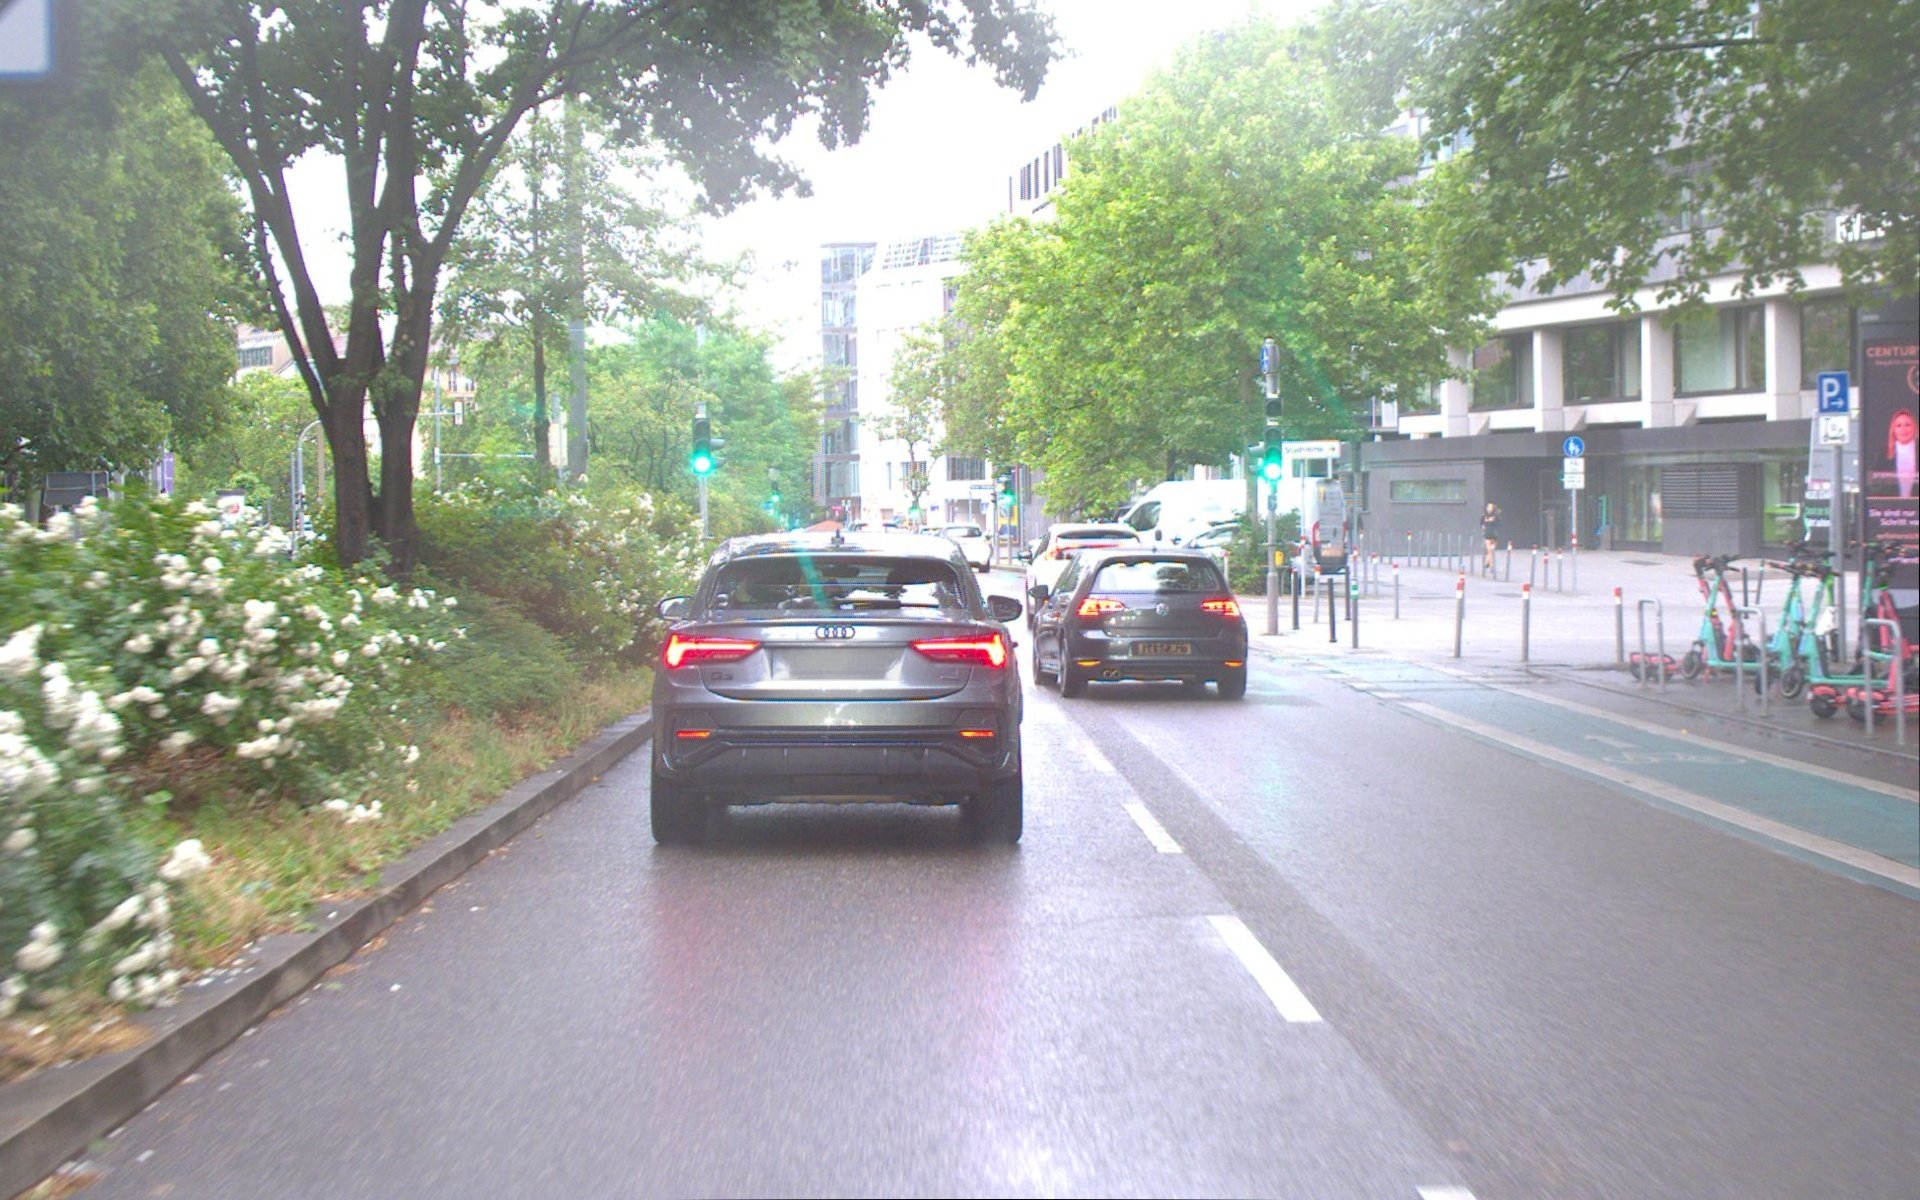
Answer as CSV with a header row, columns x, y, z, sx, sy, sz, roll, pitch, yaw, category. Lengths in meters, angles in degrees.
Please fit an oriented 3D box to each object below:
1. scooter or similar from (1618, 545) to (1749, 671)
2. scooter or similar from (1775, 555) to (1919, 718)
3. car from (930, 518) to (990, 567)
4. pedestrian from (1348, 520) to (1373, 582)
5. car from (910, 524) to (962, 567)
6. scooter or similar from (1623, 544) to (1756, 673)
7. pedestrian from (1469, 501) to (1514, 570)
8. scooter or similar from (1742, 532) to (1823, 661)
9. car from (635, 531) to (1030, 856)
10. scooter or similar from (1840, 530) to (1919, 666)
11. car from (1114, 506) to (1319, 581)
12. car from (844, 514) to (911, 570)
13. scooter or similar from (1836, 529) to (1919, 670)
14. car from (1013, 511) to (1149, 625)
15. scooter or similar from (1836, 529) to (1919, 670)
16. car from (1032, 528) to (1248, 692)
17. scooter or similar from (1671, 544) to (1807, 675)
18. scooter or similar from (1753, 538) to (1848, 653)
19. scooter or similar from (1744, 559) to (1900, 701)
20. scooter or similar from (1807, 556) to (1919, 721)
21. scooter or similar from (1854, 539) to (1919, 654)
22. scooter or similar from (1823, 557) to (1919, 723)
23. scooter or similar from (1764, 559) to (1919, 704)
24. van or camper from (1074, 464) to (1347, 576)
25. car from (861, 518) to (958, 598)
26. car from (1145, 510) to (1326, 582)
x,y,z,sx,sy,sz,roll,pitch,yaw,category
7.440,0.081,35.391,1.290,1.255,0.489,-1,3,11,scooter or similar
7.474,0.294,28.458,1.289,1.274,0.537,-2,3,-11,scooter or similar
-0.010,-1.820,108.712,1.849,1.518,4.039,0,1,-1,car
11.645,-1.414,99.955,0.553,1.799,0.762,0,0,-4,pedestrian
-0.876,-1.954,123.332,1.849,1.518,4.039,0,1,-1,car
7.373,0.086,34.779,1.290,1.255,0.489,-1,3,11,scooter or similar
13.077,-1.586,84.615,0.805,1.690,1.188,0,1,-6,pedestrian
8.465,-0.049,35.414,0.487,1.255,1.294,-2,3,-1,scooter or similar
-0.654,0.398,18.135,1.849,1.518,4.039,0,1,-2,car
9.062,-0.030,33.712,0.487,1.255,1.294,-2,3,-1,scooter or similar
5.825,-1.304,78.050,4.262,1.662,1.816,1,1,25,car
-2.282,-1.619,95.877,1.849,1.518,4.039,0,1,-1,car
8.701,-0.021,32.479,0.487,1.255,1.294,-2,3,-1,scooter or similar
1.781,-0.505,51.869,1.849,1.663,4.039,0,1,-1,car
8.701,-0.021,32.479,0.487,1.255,1.294,-2,3,-1,scooter or similar
1.708,0.052,33.787,1.849,1.518,4.039,0,1,-1,car
7.755,0.094,34.248,1.290,1.255,0.489,-1,3,11,scooter or similar
8.857,-0.054,36.272,0.487,1.193,1.294,0,0,-10,scooter or similar
7.853,0.270,31.343,1.289,1.231,0.489,-2,3,2,scooter or similar
7.558,0.301,27.774,1.289,1.274,0.537,-2,3,4,scooter or similar
10.031,-0.044,36.055,0.487,1.193,1.293,-1,1,-31,scooter or similar
7.581,0.305,27.330,1.289,1.274,0.537,-2,3,4,scooter or similar
7.867,0.277,30.598,1.289,1.231,0.489,-2,3,2,scooter or similar
5.916,-1.871,81.355,6.074,2.549,2.102,0,1,26,van or camper
-0.992,-0.846,67.753,1.849,1.518,4.039,0,1,-1,car
6.050,-1.193,75.322,3.652,1.542,1.713,1,1,18,car
